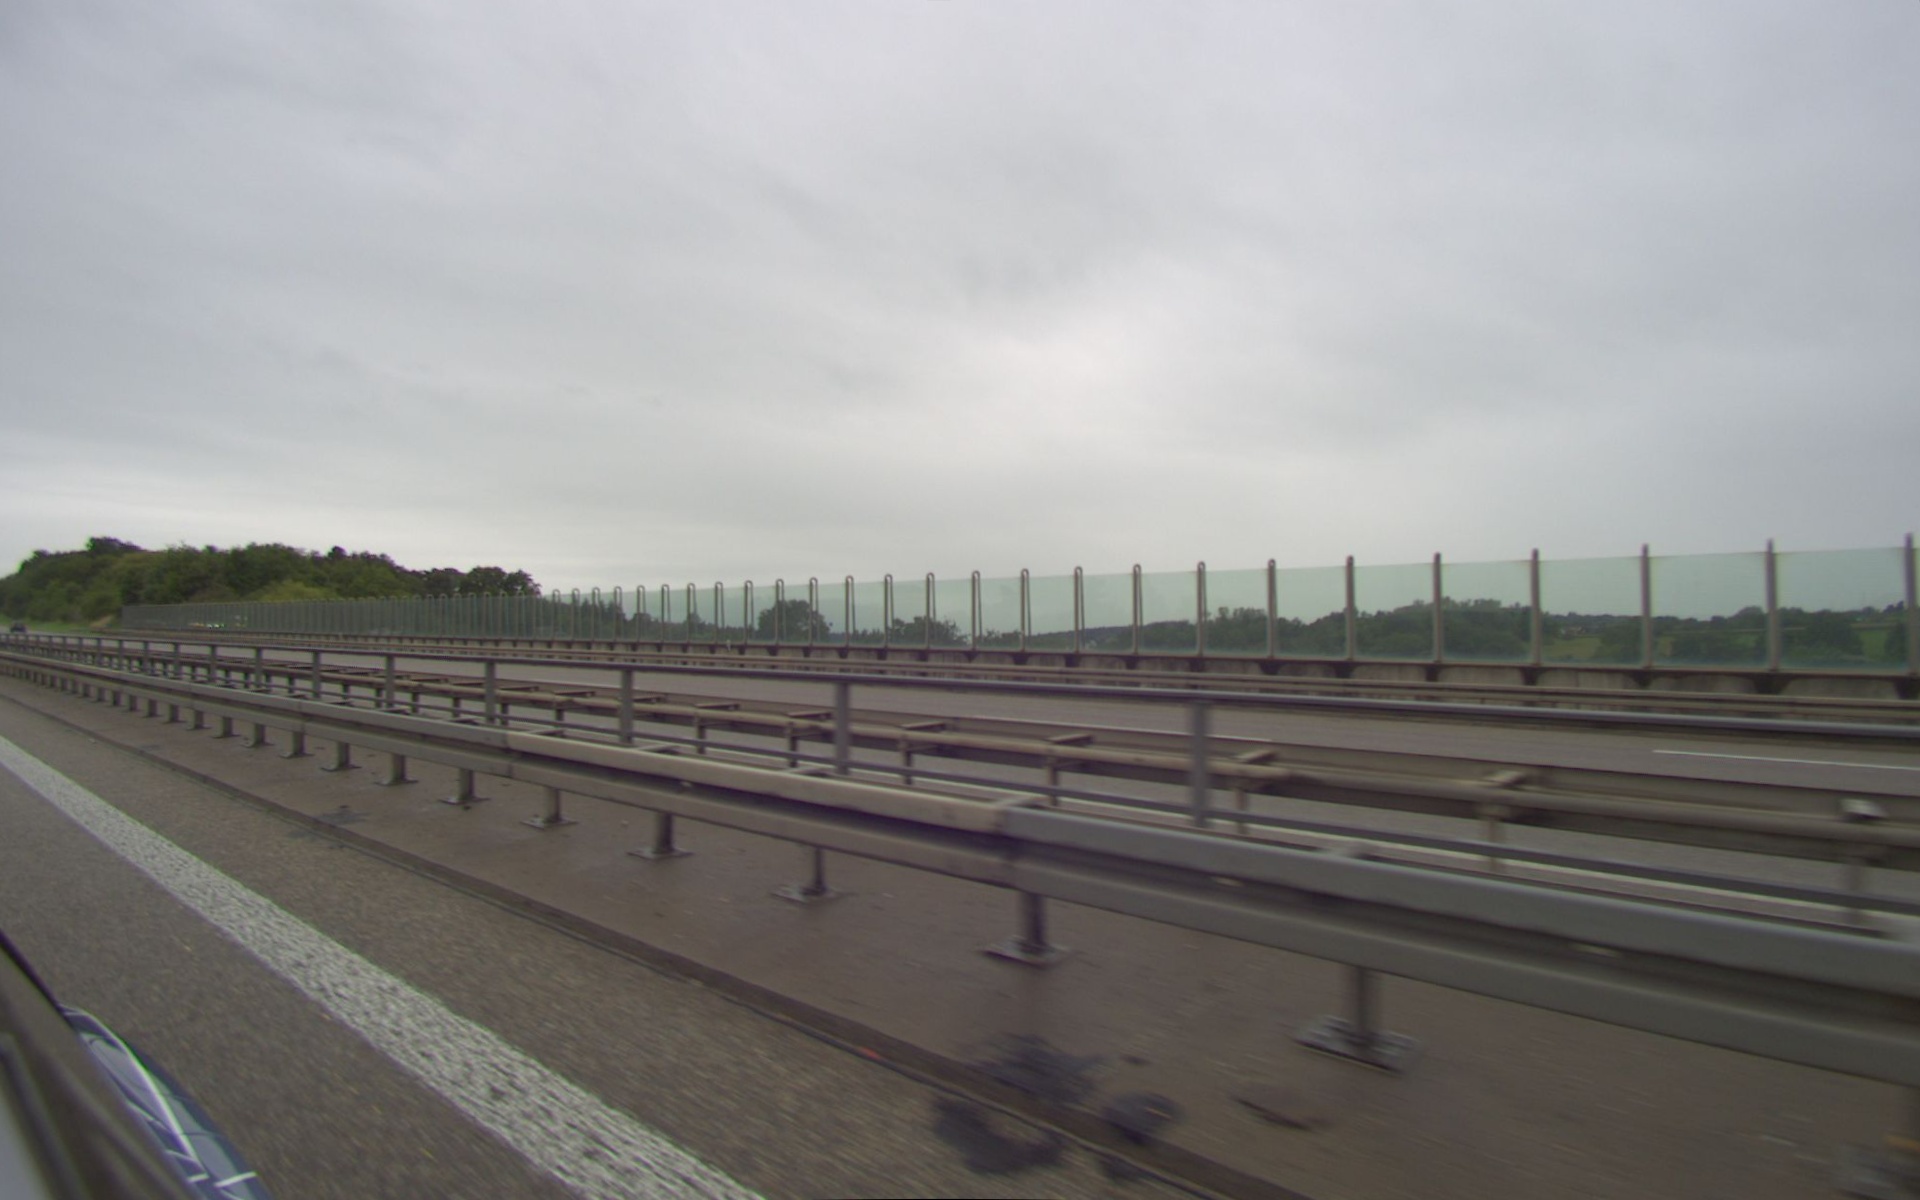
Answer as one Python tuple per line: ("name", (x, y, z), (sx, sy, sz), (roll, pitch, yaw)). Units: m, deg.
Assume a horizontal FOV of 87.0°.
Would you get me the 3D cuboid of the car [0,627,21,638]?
("car", (-127.108, 4.351, 135.424), (3.858, 1.508, 1.666), (-2, -2, 42))
